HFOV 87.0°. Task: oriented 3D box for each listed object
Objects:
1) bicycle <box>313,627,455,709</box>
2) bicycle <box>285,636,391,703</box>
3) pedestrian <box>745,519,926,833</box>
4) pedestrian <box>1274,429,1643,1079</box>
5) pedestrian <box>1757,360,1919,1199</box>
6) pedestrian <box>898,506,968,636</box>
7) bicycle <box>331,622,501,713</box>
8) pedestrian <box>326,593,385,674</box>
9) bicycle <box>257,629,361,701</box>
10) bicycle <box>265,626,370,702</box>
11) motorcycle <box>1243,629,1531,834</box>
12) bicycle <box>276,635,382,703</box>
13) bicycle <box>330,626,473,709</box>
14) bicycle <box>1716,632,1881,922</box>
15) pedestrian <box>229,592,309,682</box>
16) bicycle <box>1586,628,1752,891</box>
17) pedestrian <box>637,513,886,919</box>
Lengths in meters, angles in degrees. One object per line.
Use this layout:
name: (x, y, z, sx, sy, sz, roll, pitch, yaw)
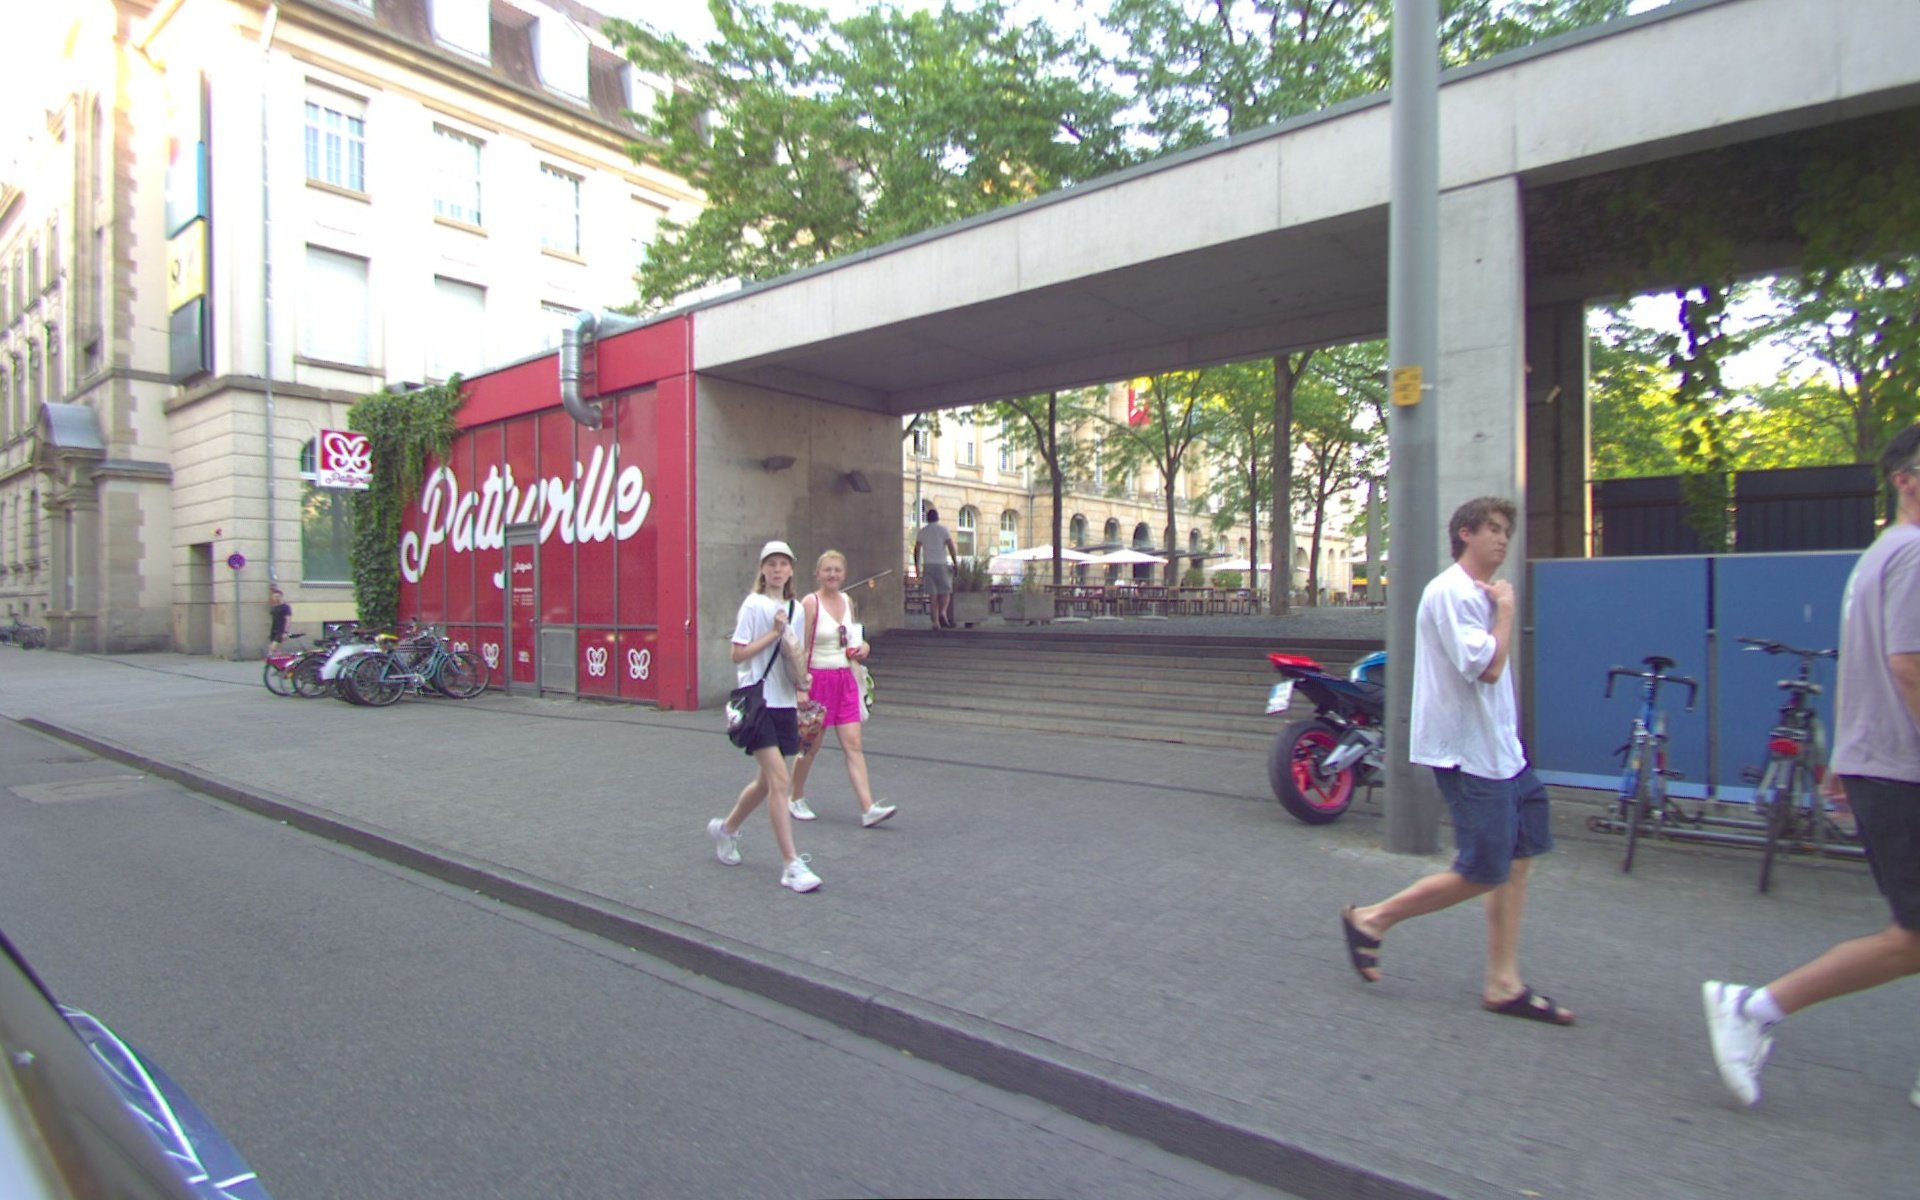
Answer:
bicycle: (-8.686, 0.999, 15.325, 0.354, 1.091, 1.819, -1, 1, 44)
bicycle: (-10.154, 1.112, 16.560, 0.311, 0.963, 1.486, -1, 1, 30)
pedestrian: (-0.778, 0.434, 6.372, 0.736, 1.807, 0.801, -1, 1, 41)
pedestrian: (1.725, 0.422, 3.471, 0.889, 1.807, 0.972, -1, 1, 41)
pedestrian: (2.588, 0.402, 2.513, 0.889, 1.897, 0.972, -1, 1, 41)
pedestrian: (-0.384, -0.416, 14.870, 0.933, 1.841, 0.832, -2, 0, 2)
bicycle: (-7.968, 0.954, 14.912, 0.446, 1.164, 2.150, -1, 1, 44)
pedestrian: (-13.444, 0.728, 22.519, 0.701, 1.740, 0.910, -1, 0, 34)
bicycle: (-10.971, 1.076, 17.099, 0.311, 1.084, 1.486, -1, 1, 30)
bicycle: (-10.694, 1.047, 16.895, 0.311, 1.149, 1.486, -1, 1, 30)
motorcycle: (2.688, 0.763, 6.344, 1.797, 1.077, 0.535, -2, 1, -23)
bicycle: (-10.409, 1.119, 16.739, 0.311, 0.986, 1.486, -1, 1, 30)
bicycle: (-8.292, 0.978, 15.095, 0.354, 1.091, 1.819, -1, 1, 44)
bicycle: (3.984, 0.739, 4.774, 1.475, 1.096, 0.436, -2, 1, -45)
pedestrian: (-14.672, 0.763, 21.505, 0.936, 1.841, 1.004, -1, 0, 12)
bicycle: (3.851, 0.740, 5.432, 0.550, 1.095, 1.848, -1, 1, 40)
pedestrian: (-0.997, 0.513, 5.114, 0.868, 1.807, 0.840, -1, 1, 41)
